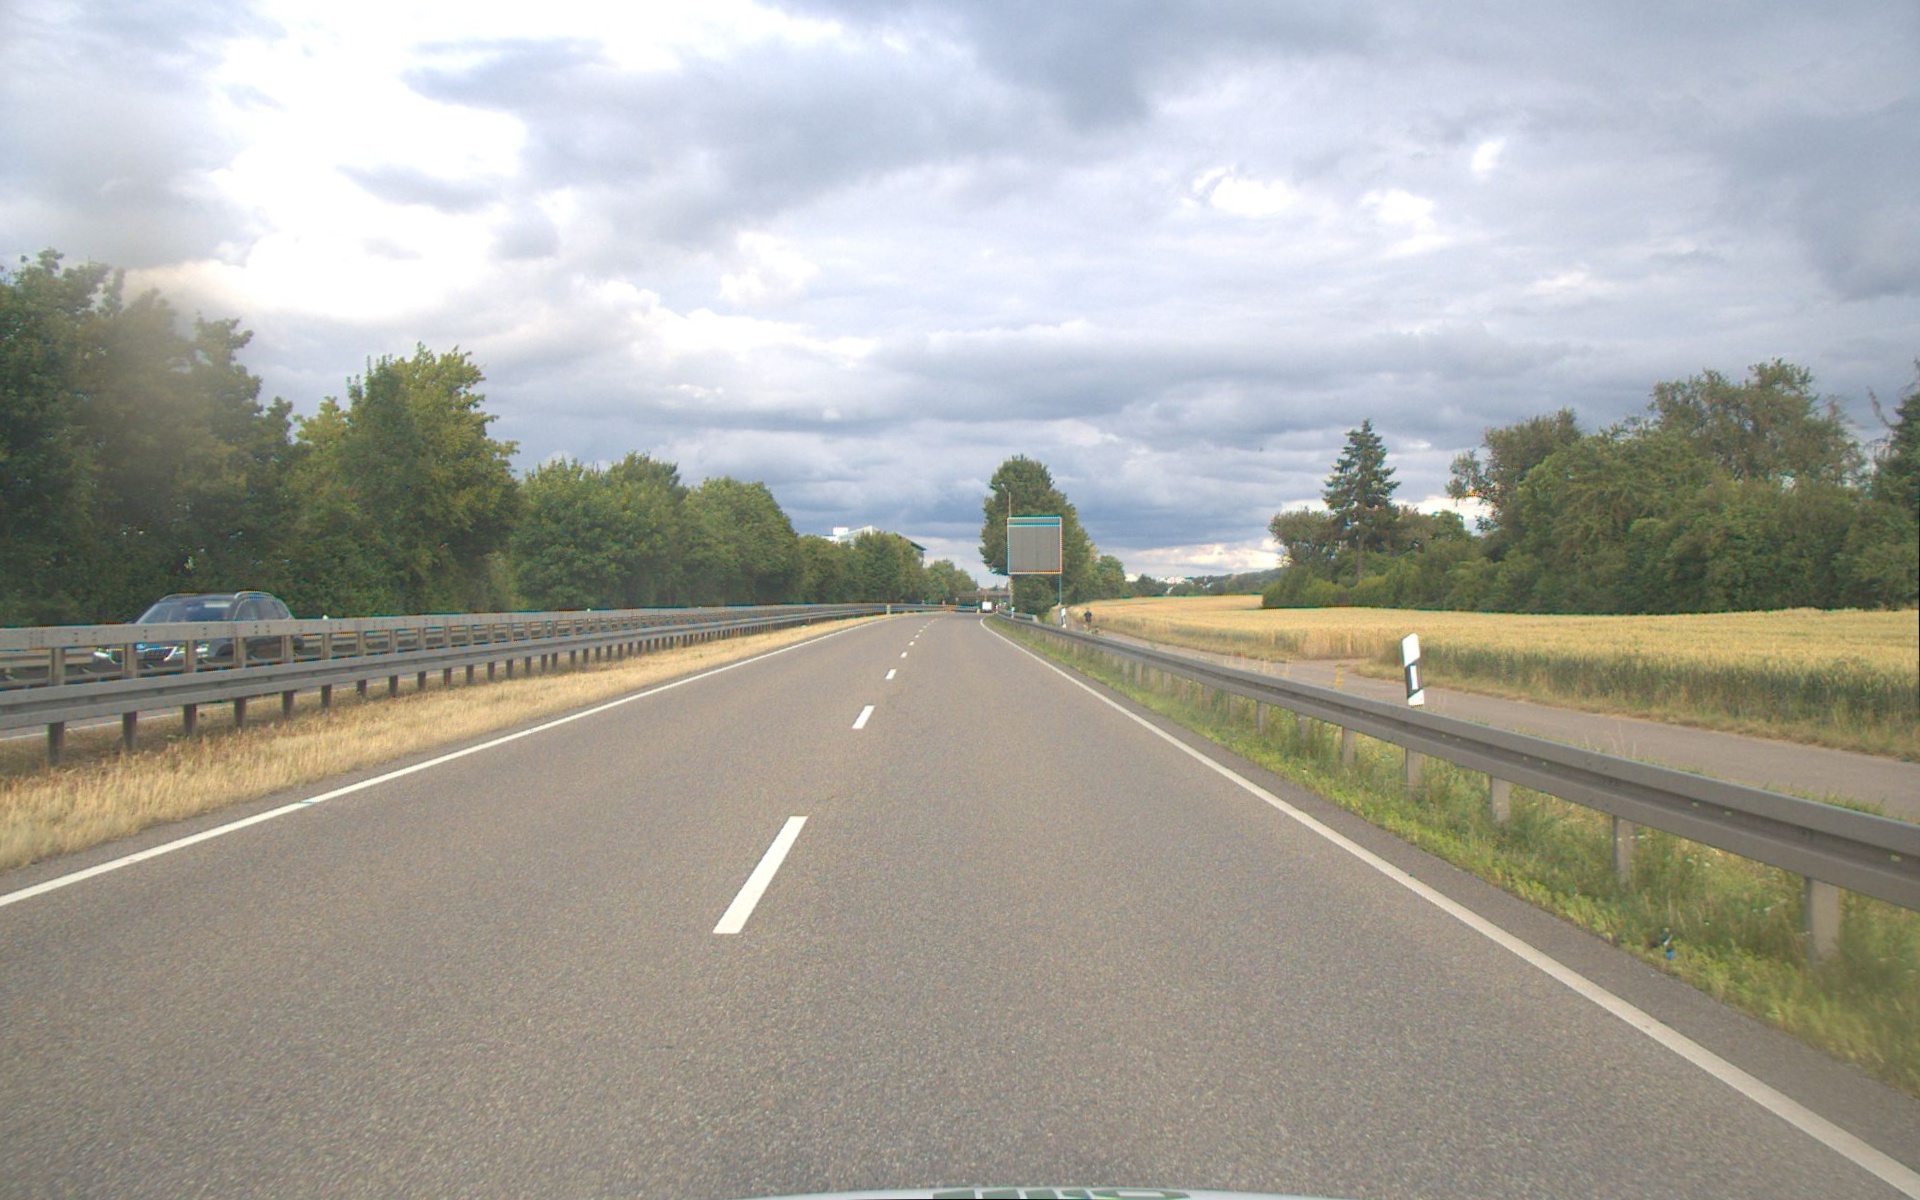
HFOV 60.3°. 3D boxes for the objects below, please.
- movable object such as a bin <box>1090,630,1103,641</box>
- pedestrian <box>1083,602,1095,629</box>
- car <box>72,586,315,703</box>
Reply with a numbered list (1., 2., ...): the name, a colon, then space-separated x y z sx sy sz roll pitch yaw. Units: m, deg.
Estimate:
1. movable object such as a bin: 8.839 2.272 106.851 0.717 0.657 1.235 2 -1 0
2. pedestrian: 9.387 1.113 120.061 0.755 1.900 0.940 2 -1 -1
3. car: -11.658 0.635 25.516 1.761 1.642 4.375 0 0 -1
